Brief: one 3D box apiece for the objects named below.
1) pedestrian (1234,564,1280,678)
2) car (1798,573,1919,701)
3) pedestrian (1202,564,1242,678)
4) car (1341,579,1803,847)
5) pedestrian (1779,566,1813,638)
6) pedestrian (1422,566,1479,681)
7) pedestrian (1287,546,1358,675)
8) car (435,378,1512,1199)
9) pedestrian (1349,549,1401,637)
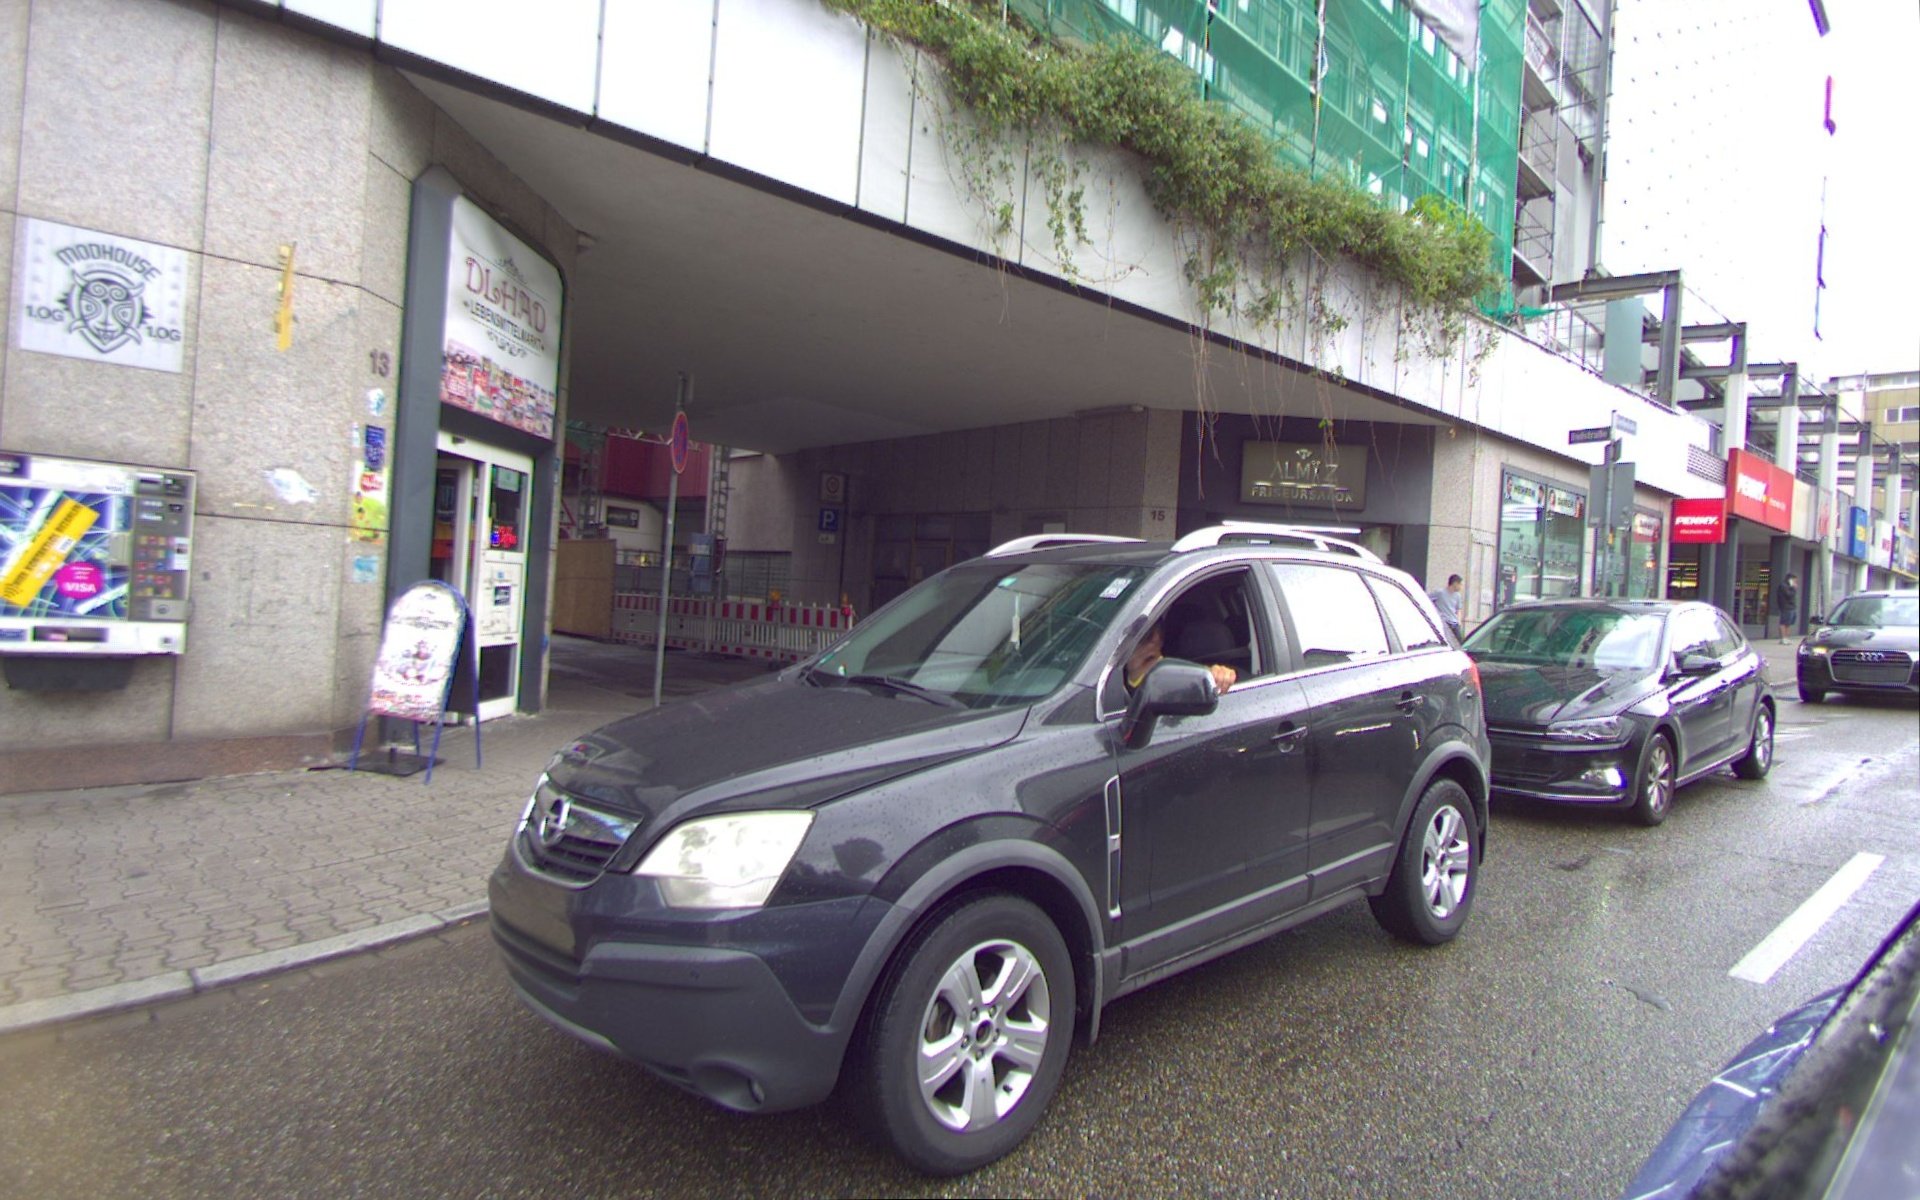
[{"bbox_3d":[4.328,0.291,14.763,0.630,1.615,0.574,0,1,17],"label":"pedestrian"},{"bbox_3d":[13.638,0.449,14.446,4.089,1.628,1.841,-1,1,-39],"label":"car"},{"bbox_3d":[4.038,0.310,15.608,0.474,1.729,0.467,-1,0,1],"label":"pedestrian"},{"bbox_3d":[4.822,0.659,7.742,4.088,1.523,1.759,1,0,-39],"label":"car"},{"bbox_3d":[20.177,0.043,24.432,0.570,1.699,0.509,-1,3,-42],"label":"pedestrian"},{"bbox_3d":[7.371,0.335,15.194,0.635,1.663,0.724,0,1,37],"label":"pedestrian"},{"bbox_3d":[5.320,0.133,14.890,0.730,1.838,0.773,2,2,3],"label":"pedestrian"},{"bbox_3d":[0.402,0.473,3.988,4.089,1.788,1.763,1,0,-40],"label":"car"},{"bbox_3d":[7.932,-0.143,19.344,0.568,1.647,0.677,-1,3,-34],"label":"pedestrian"}]
